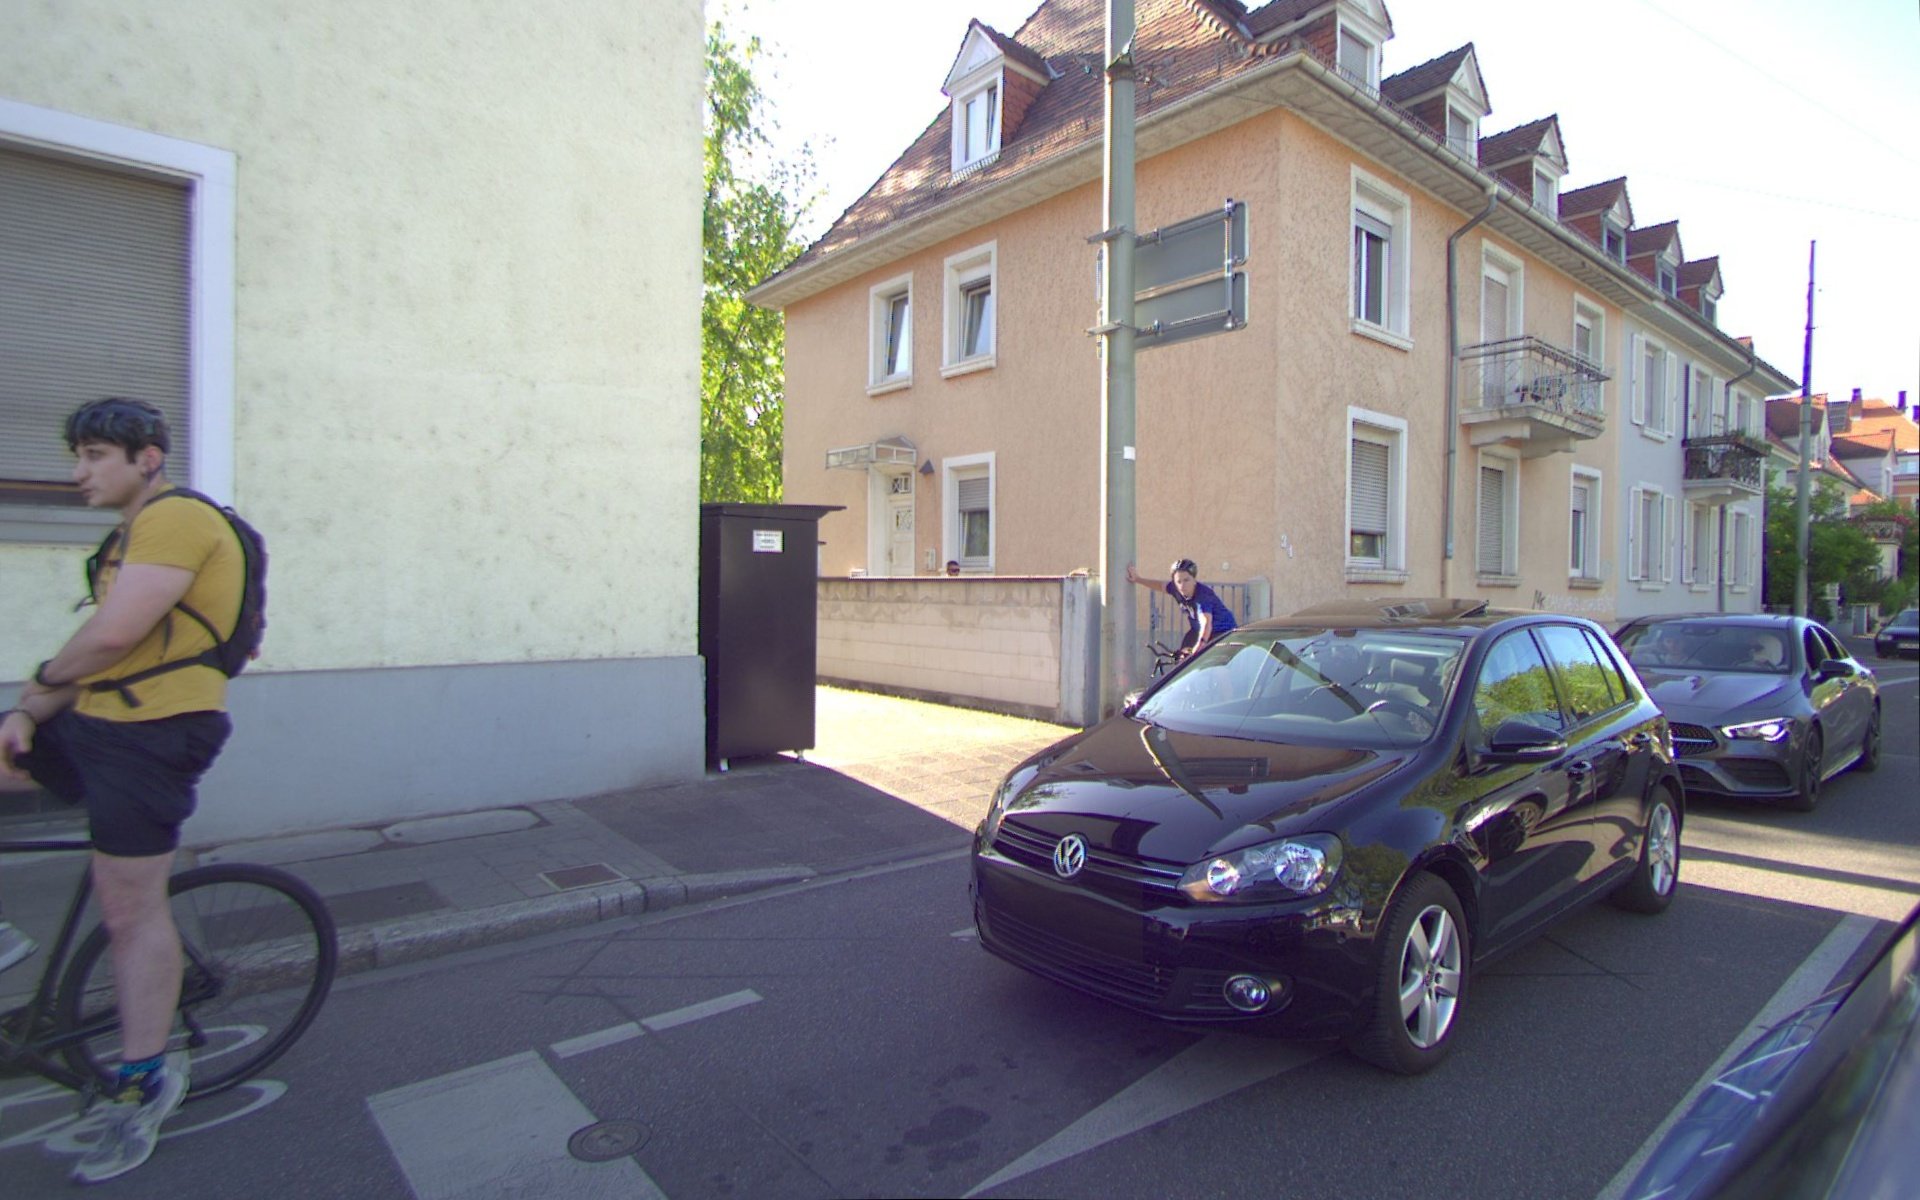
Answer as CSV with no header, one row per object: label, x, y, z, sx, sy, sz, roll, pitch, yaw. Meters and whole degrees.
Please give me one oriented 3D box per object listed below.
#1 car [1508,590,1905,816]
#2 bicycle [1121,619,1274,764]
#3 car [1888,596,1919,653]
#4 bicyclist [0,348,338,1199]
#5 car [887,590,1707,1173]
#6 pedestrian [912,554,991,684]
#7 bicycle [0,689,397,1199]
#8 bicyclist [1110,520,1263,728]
car,6.534,0.681,8.657,4.411,1.449,1.824,1,0,-41
bicycle,2.128,0.754,8.950,0.554,1.088,1.601,6,4,42
car,26.760,0.634,27.436,4.258,1.448,1.824,-1,0,-40
bicyclist,-2.284,0.428,2.751,0.777,1.991,0.768,0,0,36
car,1.755,0.692,4.499,3.921,1.456,1.716,-1,0,-41
pedestrian,-0.119,0.235,13.560,0.600,1.624,0.760,0,6,-43
bicycle,-2.520,0.874,2.594,0.777,1.120,1.720,0,0,36
bicyclist,2.015,0.175,9.051,1.018,1.714,0.718,6,4,42
